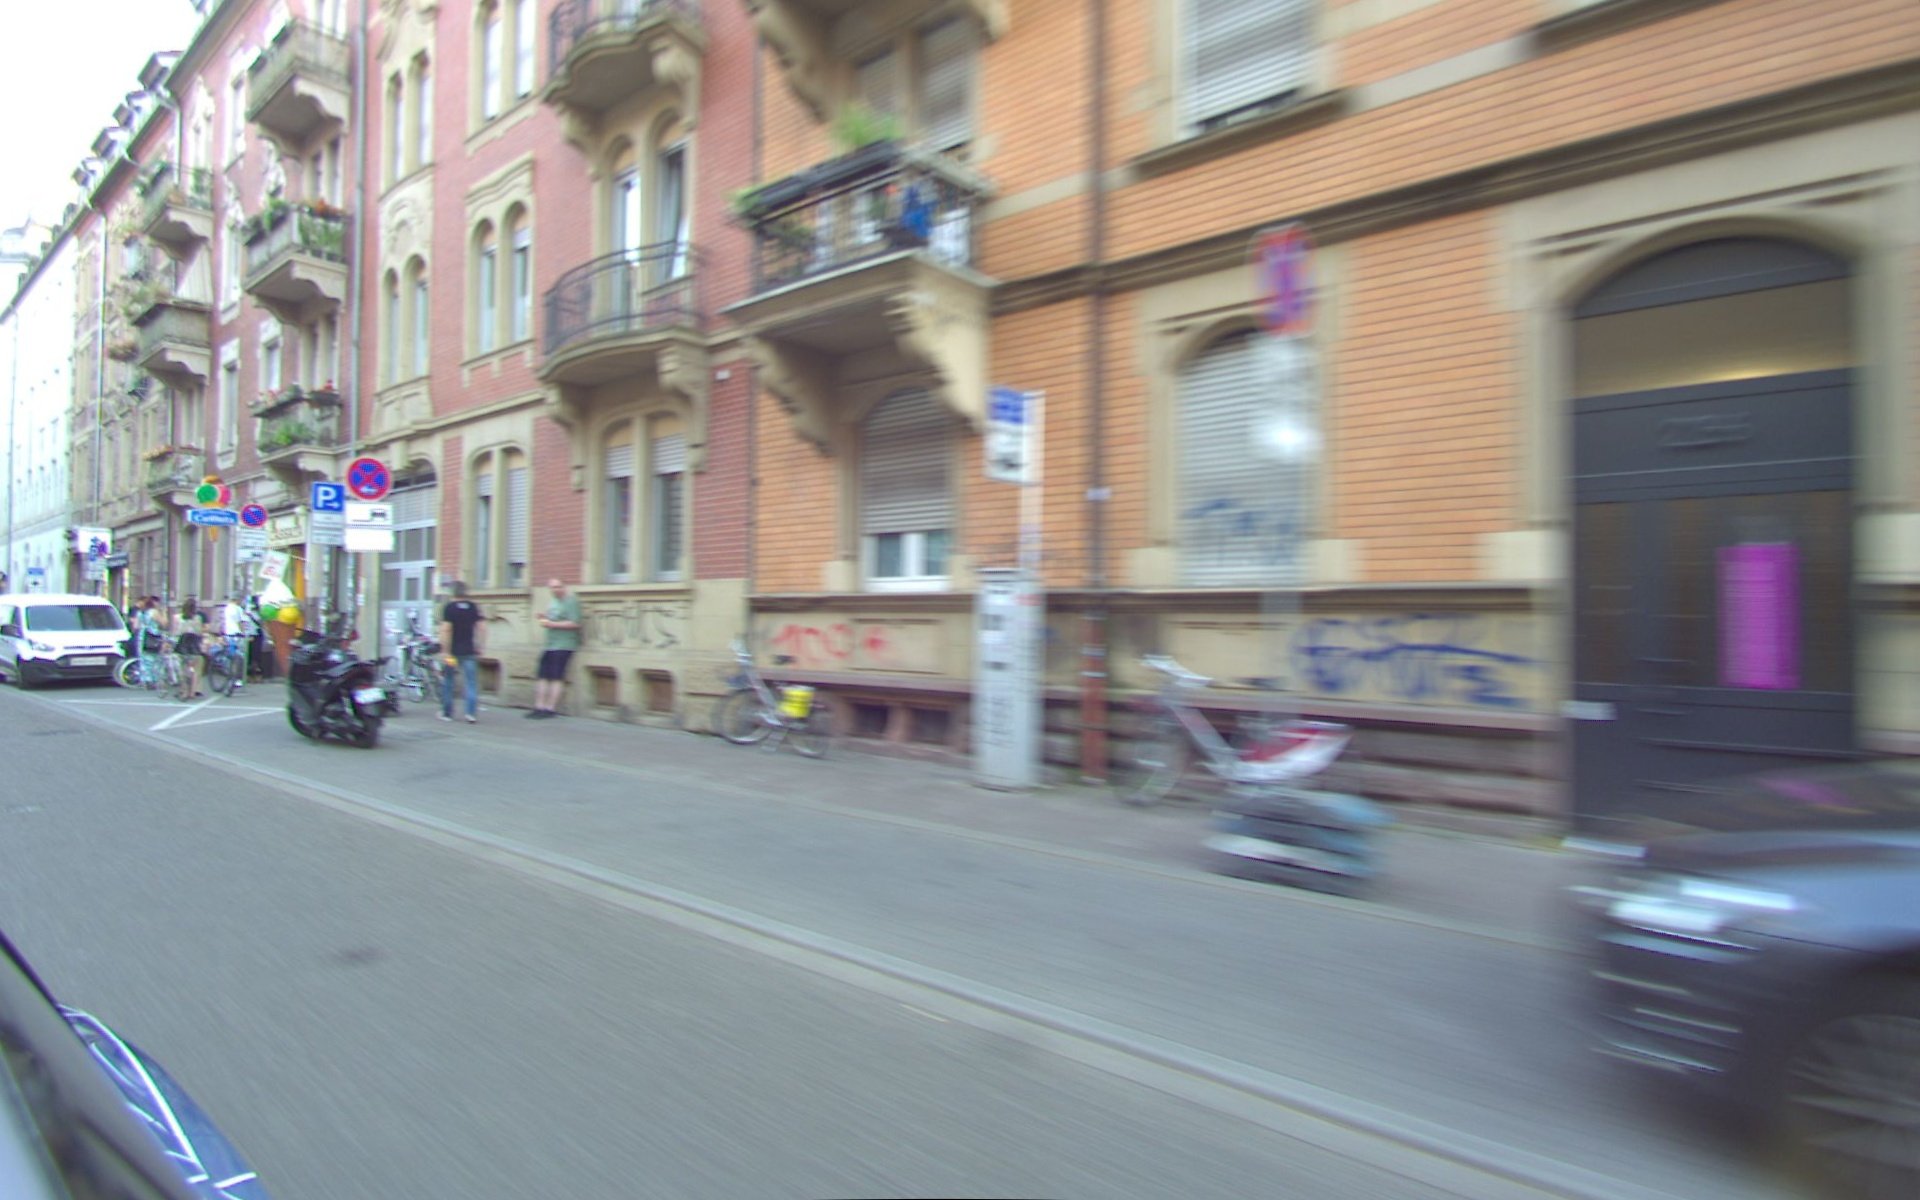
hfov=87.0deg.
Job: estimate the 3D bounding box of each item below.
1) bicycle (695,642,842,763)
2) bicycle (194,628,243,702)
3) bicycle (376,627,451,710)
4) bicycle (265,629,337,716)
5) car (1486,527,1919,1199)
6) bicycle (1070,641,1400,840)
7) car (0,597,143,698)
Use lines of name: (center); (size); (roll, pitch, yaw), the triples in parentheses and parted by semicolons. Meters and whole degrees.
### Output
bicycle: (-1.891, 0.950, 9.824); (1.740, 1.038, 0.443); (-1, -1, 42)
bicycle: (-12.756, 1.087, 17.391); (0.460, 1.164, 2.002); (0, -1, -42)
bicycle: (-8.356, 1.013, 15.438); (1.837, 1.168, 0.407); (-1, -1, 42)
bicycle: (-9.523, 1.013, 14.607); (1.837, 1.168, 0.407); (-1, -1, 42)
car: (3.543, 0.589, 2.011); (4.168, 1.482, 1.819); (-1, -2, 39)
bicycle: (1.807, 0.858, 6.820); (2.020, 1.109, 0.743); (0, -1, 34)
car: (-18.076, 0.872, 20.260); (4.582, 1.802, 1.753); (0, -1, 39)
